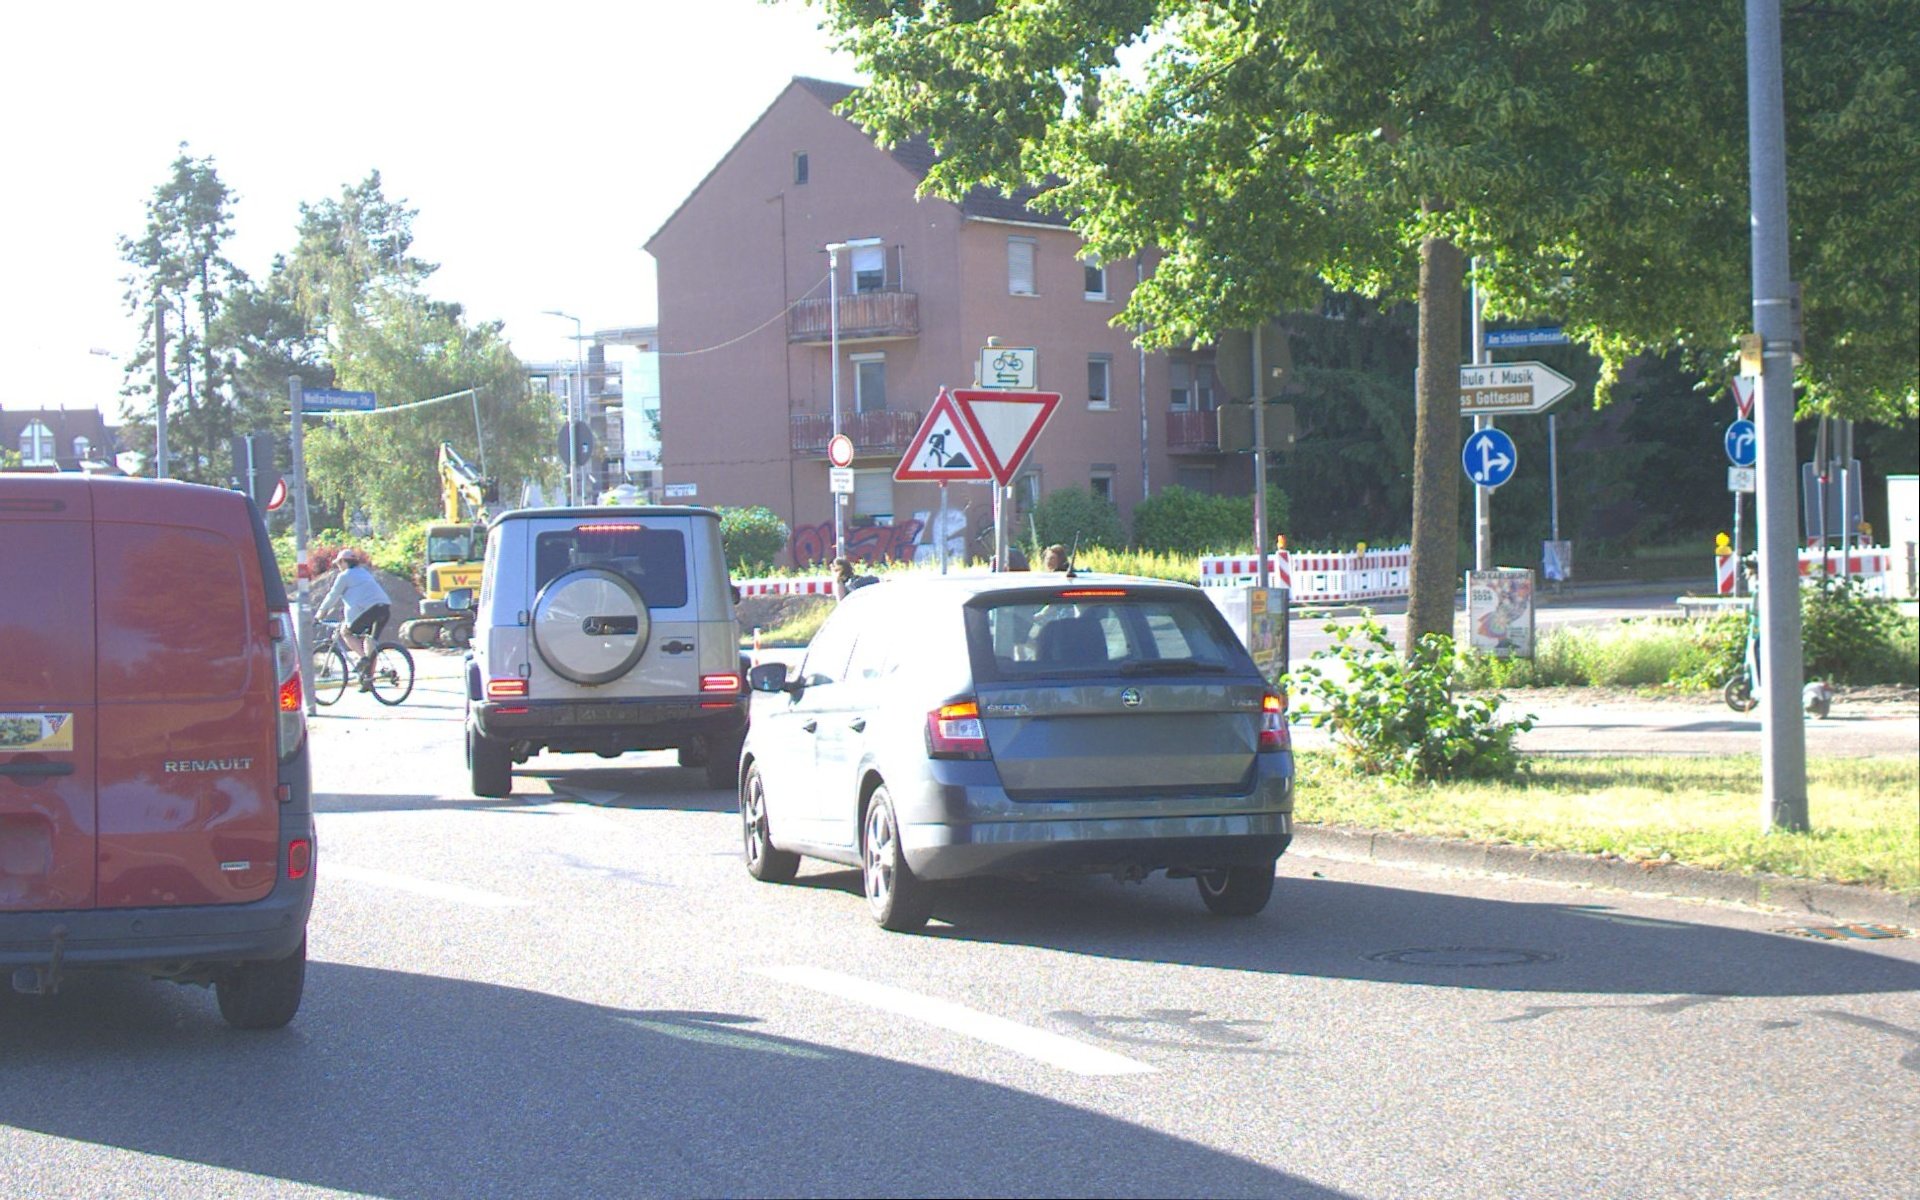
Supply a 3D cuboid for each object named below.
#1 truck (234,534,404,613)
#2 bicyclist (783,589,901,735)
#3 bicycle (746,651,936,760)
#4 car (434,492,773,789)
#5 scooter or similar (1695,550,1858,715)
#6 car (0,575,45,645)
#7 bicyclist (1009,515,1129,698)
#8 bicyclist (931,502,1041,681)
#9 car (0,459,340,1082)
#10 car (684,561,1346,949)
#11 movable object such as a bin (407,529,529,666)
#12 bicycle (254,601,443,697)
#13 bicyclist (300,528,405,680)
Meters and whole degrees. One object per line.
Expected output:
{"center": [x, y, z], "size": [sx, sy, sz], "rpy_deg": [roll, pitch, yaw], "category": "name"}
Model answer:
{"center": [-16.963, -0.687, 90.651], "size": [2.164, 2.007, 6.435], "rpy_deg": [0, 0, -32], "category": "truck"}
{"center": [-1.142, 0.587, 33.150], "size": [0.934, 1.380, 0.659], "rpy_deg": [0, 0, 38], "category": "bicyclist"}
{"center": [-1.156, 1.009, 33.175], "size": [1.822, 1.024, 0.659], "rpy_deg": [-1, -1, 37], "category": "bicycle"}
{"center": [-2.666, 0.251, 24.668], "size": [1.996, 1.890, 4.754], "rpy_deg": [-1, 0, -11], "category": "car"}
{"center": [6.300, 0.259, 26.571], "size": [0.443, 1.243, 1.264], "rpy_deg": [0, -1, -33], "category": "scooter or similar"}
{"center": [-28.994, 0.282, 101.740], "size": [1.994, 2.007, 4.497], "rpy_deg": [0, 0, -39], "category": "car"}
{"center": [1.009, 0.058, 31.807], "size": [0.898, 1.659, 0.659], "rpy_deg": [0, 0, 41], "category": "bicyclist"}
{"center": [0.256, -0.081, 33.687], "size": [0.812, 1.724, 0.653], "rpy_deg": [-2, 0, 44], "category": "bicyclist"}
{"center": [-3.461, 0.480, 11.772], "size": [1.802, 1.807, 3.810], "rpy_deg": [-1, 1, -23], "category": "car"}
{"center": [0.075, 0.577, 15.140], "size": [1.713, 1.431, 4.153], "rpy_deg": [-1, 0, -17], "category": "car"}
{"center": [-10.328, -0.050, 71.948], "size": [2.418, 2.764, 4.001], "rpy_deg": [0, 0, -10], "category": "movable object such as a bin"}
{"center": [-6.955, 0.549, 39.107], "size": [2.006, 1.024, 0.741], "rpy_deg": [0, 3, 23], "category": "bicycle"}
{"center": [-6.897, 0.036, 39.037], "size": [0.852, 1.675, 0.741], "rpy_deg": [0, 3, 23], "category": "bicyclist"}
